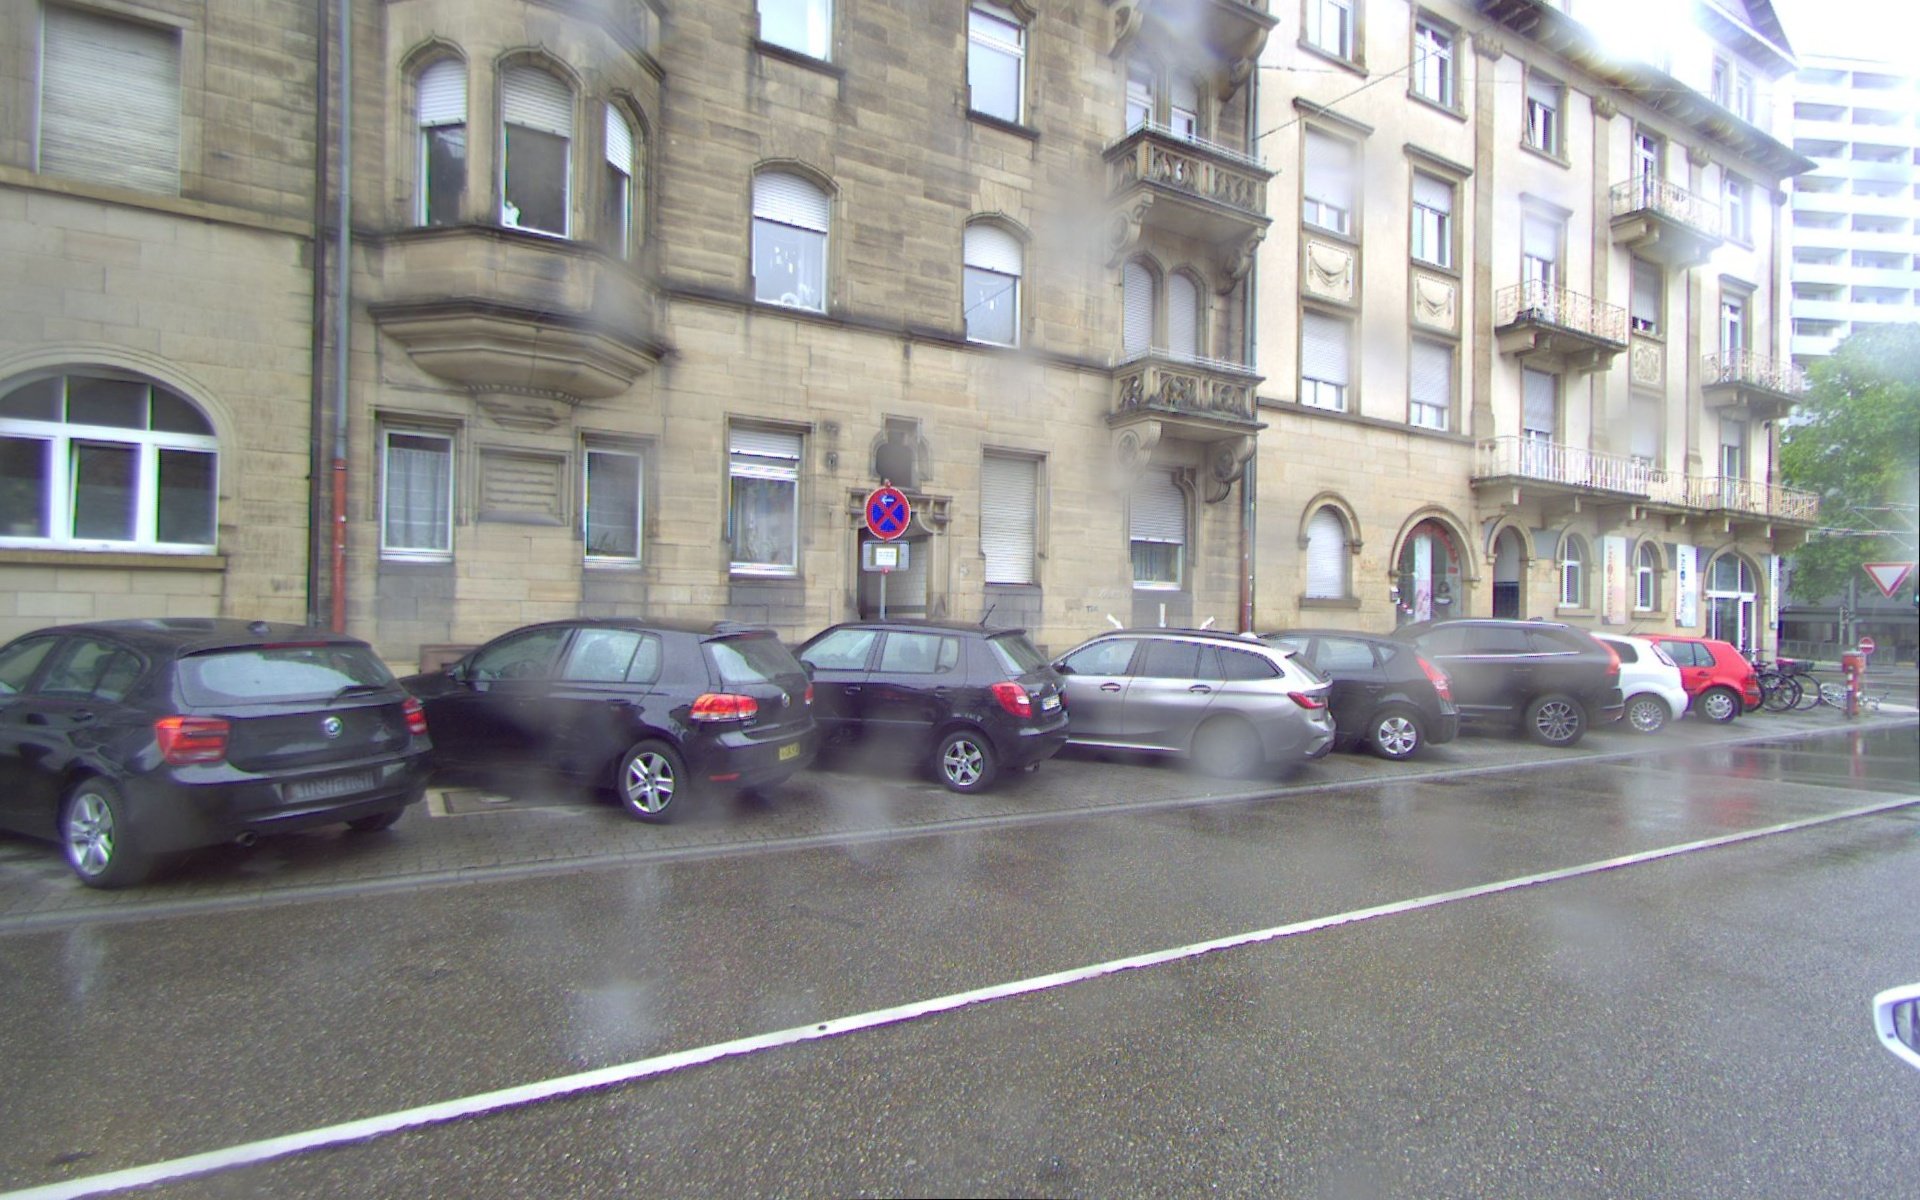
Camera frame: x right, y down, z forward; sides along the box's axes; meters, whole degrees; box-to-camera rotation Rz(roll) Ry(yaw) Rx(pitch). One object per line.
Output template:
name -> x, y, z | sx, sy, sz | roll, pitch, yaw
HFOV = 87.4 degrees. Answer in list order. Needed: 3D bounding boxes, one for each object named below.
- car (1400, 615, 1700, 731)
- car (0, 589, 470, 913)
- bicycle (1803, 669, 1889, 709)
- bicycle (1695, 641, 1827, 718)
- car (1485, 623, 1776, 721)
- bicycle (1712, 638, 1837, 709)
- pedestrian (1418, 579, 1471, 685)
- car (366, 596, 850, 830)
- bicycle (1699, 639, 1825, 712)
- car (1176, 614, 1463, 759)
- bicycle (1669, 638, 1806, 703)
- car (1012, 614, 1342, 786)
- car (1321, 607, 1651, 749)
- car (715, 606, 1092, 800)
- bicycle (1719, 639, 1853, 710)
car -> 9.353, 1.099, 16.313 | 3.916, 1.554, 1.704 | 2, 1, 21
car -> -5.299, 0.752, 6.663 | 3.657, 1.565, 1.777 | 2, 1, 25
bicycle -> 18.381, 1.839, 20.882 | 1.024, 0.672, 1.476 | 3, 0, 29
bicycle -> 14.870, 1.445, 18.710 | 0.592, 1.201, 1.805 | 1, 3, -24
car -> 11.780, 1.217, 17.921 | 3.919, 1.528, 1.805 | 1, -1, 12
bicycle -> 16.035, 1.416, 19.824 | 0.463, 1.200, 1.800 | 1, 2, -31
pedestrian -> 11.073, 0.738, 22.983 | 0.750, 2.371, 0.847 | 1, -1, -8
car -> -2.972, 0.808, 8.559 | 3.685, 1.565, 1.628 | 2, 1, 20
bicycle -> 15.602, 1.440, 19.590 | 0.469, 1.200, 1.800 | 1, 3, -31
car -> 4.590, 1.020, 12.999 | 3.246, 1.546, 1.700 | 2, 1, 22
bicycle -> 17.195, 1.526, 22.282 | 0.634, 1.364, 2.326 | 1, -2, -34
car -> 2.463, 1.001, 11.280 | 3.362, 1.565, 1.701 | 2, 1, 21
car -> 7.428, 1.031, 14.648 | 4.005, 1.715, 1.764 | 2, 1, 21
car -> -0.558, 0.894, 10.063 | 3.378, 1.565, 1.627 | 2, 1, 24
bicycle -> 16.504, 1.452, 20.126 | 0.470, 1.200, 1.968 | 2, 2, -32
